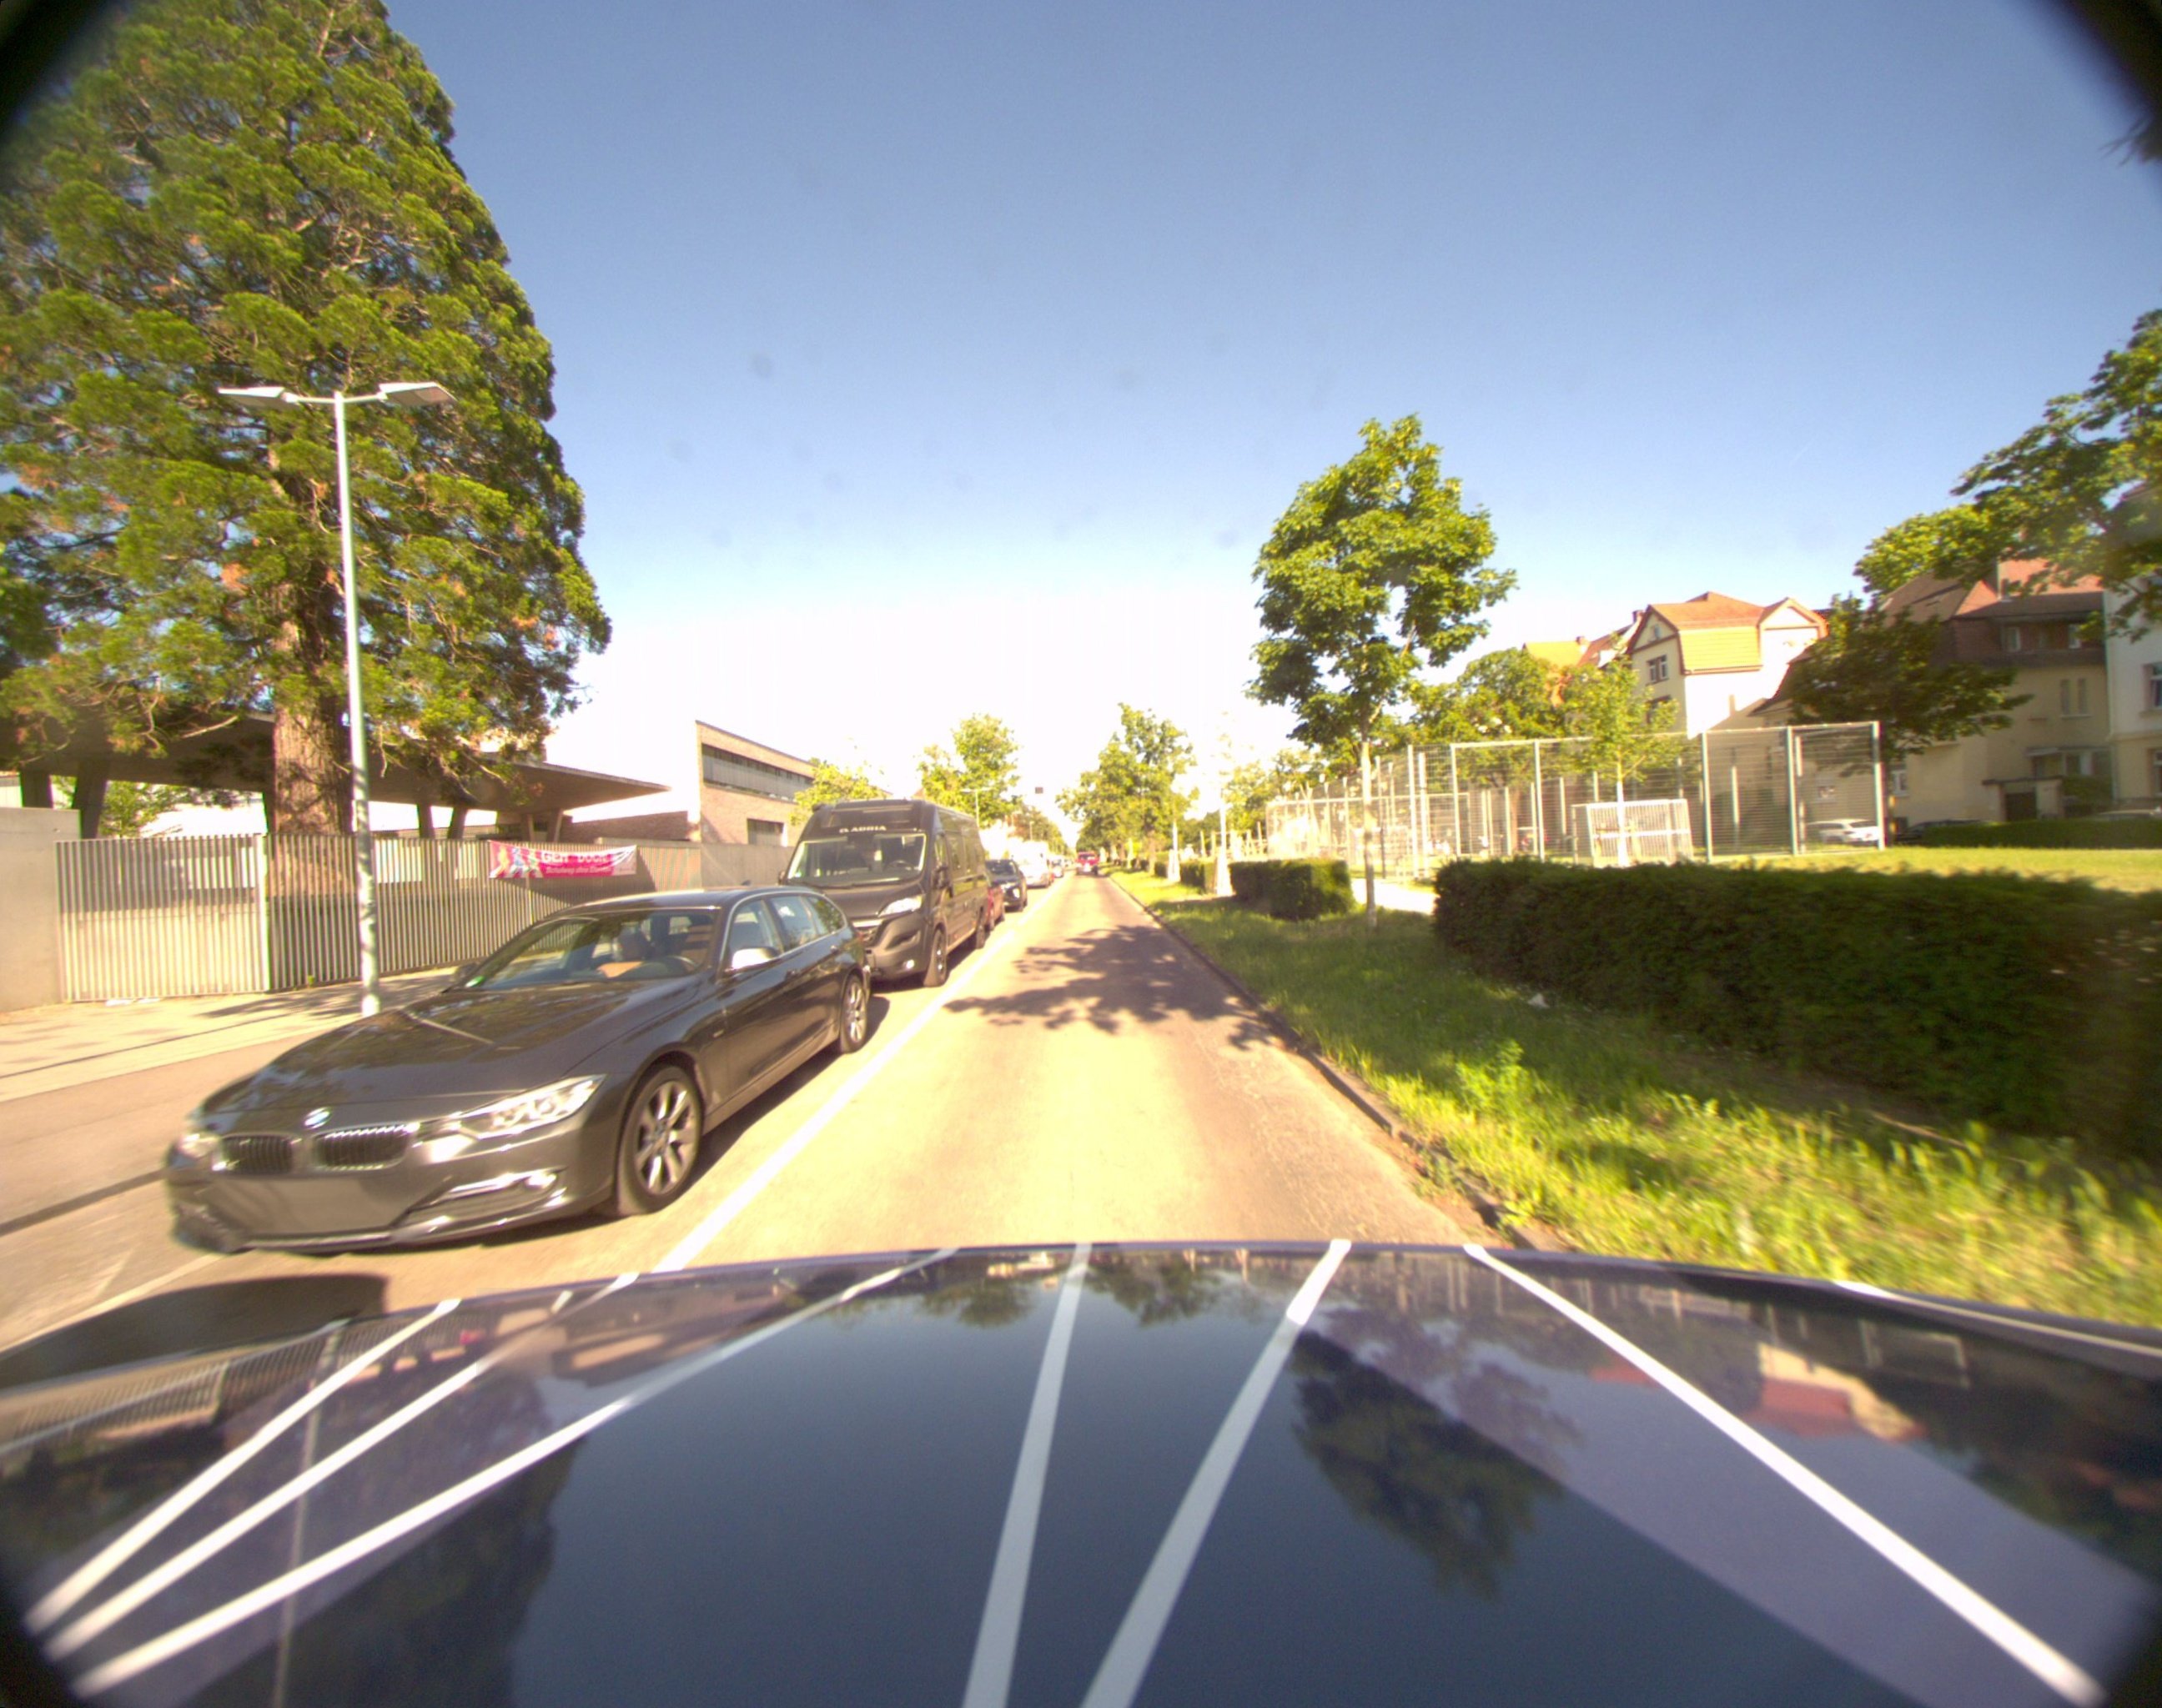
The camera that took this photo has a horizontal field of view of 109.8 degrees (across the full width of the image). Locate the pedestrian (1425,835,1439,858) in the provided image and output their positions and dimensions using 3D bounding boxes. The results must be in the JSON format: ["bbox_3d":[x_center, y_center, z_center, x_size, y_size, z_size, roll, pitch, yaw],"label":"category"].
[{"bbox_3d":[21.241,-0.458,46.022,0.648,1.310,0.651,-3,1,30],"label":"pedestrian"}]

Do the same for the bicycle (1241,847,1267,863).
[{"bbox_3d":[13.066,0.090,57.514,1.799,1.101,0.500,-3,0,-1],"label":"bicycle"}]

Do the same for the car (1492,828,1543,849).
[{"bbox_3d":[35.522,-1.218,61.935,1.799,1.501,4.000,-3,0,1],"label":"car"}]

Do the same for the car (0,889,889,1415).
[{"bbox_3d":[-2.875,1.090,4.785,1.998,1.412,4.635,-3,0,1],"label":"car"}]

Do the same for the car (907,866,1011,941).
[{"bbox_3d":[-2.808,1.092,18.315,1.799,1.446,3.949,-3,0,0],"label":"car"}]

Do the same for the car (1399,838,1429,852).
[{"bbox_3d":[39.926,-1.074,91.194,1.799,1.545,4.000,-3,0,0],"label":"car"}]

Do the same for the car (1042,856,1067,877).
[{"bbox_3d":[-2.103,0.981,61.487,1.705,1.470,4.173,-4,0,1],"label":"car"}]

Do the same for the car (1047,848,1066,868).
[{"bbox_3d":[-2.498,0.362,78.850,1.812,1.897,4.460,-4,0,-1],"label":"car"}]

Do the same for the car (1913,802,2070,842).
[{"bbox_3d":[39.911,-1.348,33.477,1.799,1.501,4.231,-3,0,1],"label":"car"}]

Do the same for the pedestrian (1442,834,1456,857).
[{"bbox_3d":[22.046,-0.496,45.571,0.648,1.310,0.651,-3,1,30],"label":"pedestrian"}]

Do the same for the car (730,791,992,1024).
[{"bbox_3d":[-2.831,0.584,11.755,2.121,2.501,6.531,-3,0,-1],"label":"car"}]

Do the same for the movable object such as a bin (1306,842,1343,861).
[{"bbox_3d":[17.895,-0.178,55.886,2.337,1.234,1.056,-2,0,-3],"label":"movable object such as a bin"}]

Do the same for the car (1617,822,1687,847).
[{"bbox_3d":[39.595,-1.335,52.787,1.799,1.501,4.000,-3,0,1],"label":"car"}]

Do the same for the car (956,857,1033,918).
[{"bbox_3d":[-2.620,0.971,24.087,1.851,1.631,4.503,-3,0,0],"label":"car"}]

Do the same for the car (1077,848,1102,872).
[{"bbox_3d":[0.735,0.496,67.255,2.092,2.000,4.844,-1,0,0],"label":"car"}]

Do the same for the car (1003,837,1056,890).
[{"bbox_3d":[-2.718,0.477,41.533,2.246,2.559,5.432,-4,0,1],"label":"car"}]

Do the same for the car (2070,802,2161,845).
[{"bbox_3d":[39.817,-1.148,27.707,1.799,1.501,4.347,-3,0,1],"label":"car"}]

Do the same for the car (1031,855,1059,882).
[{"bbox_3d":[-2.311,0.920,49.546,1.624,1.579,3.591,-3,0,-2],"label":"car"}]

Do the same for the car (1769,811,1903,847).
[{"bbox_3d":[39.682,-1.267,40.173,1.886,1.642,5.182,-3,0,1],"label":"car"}]
